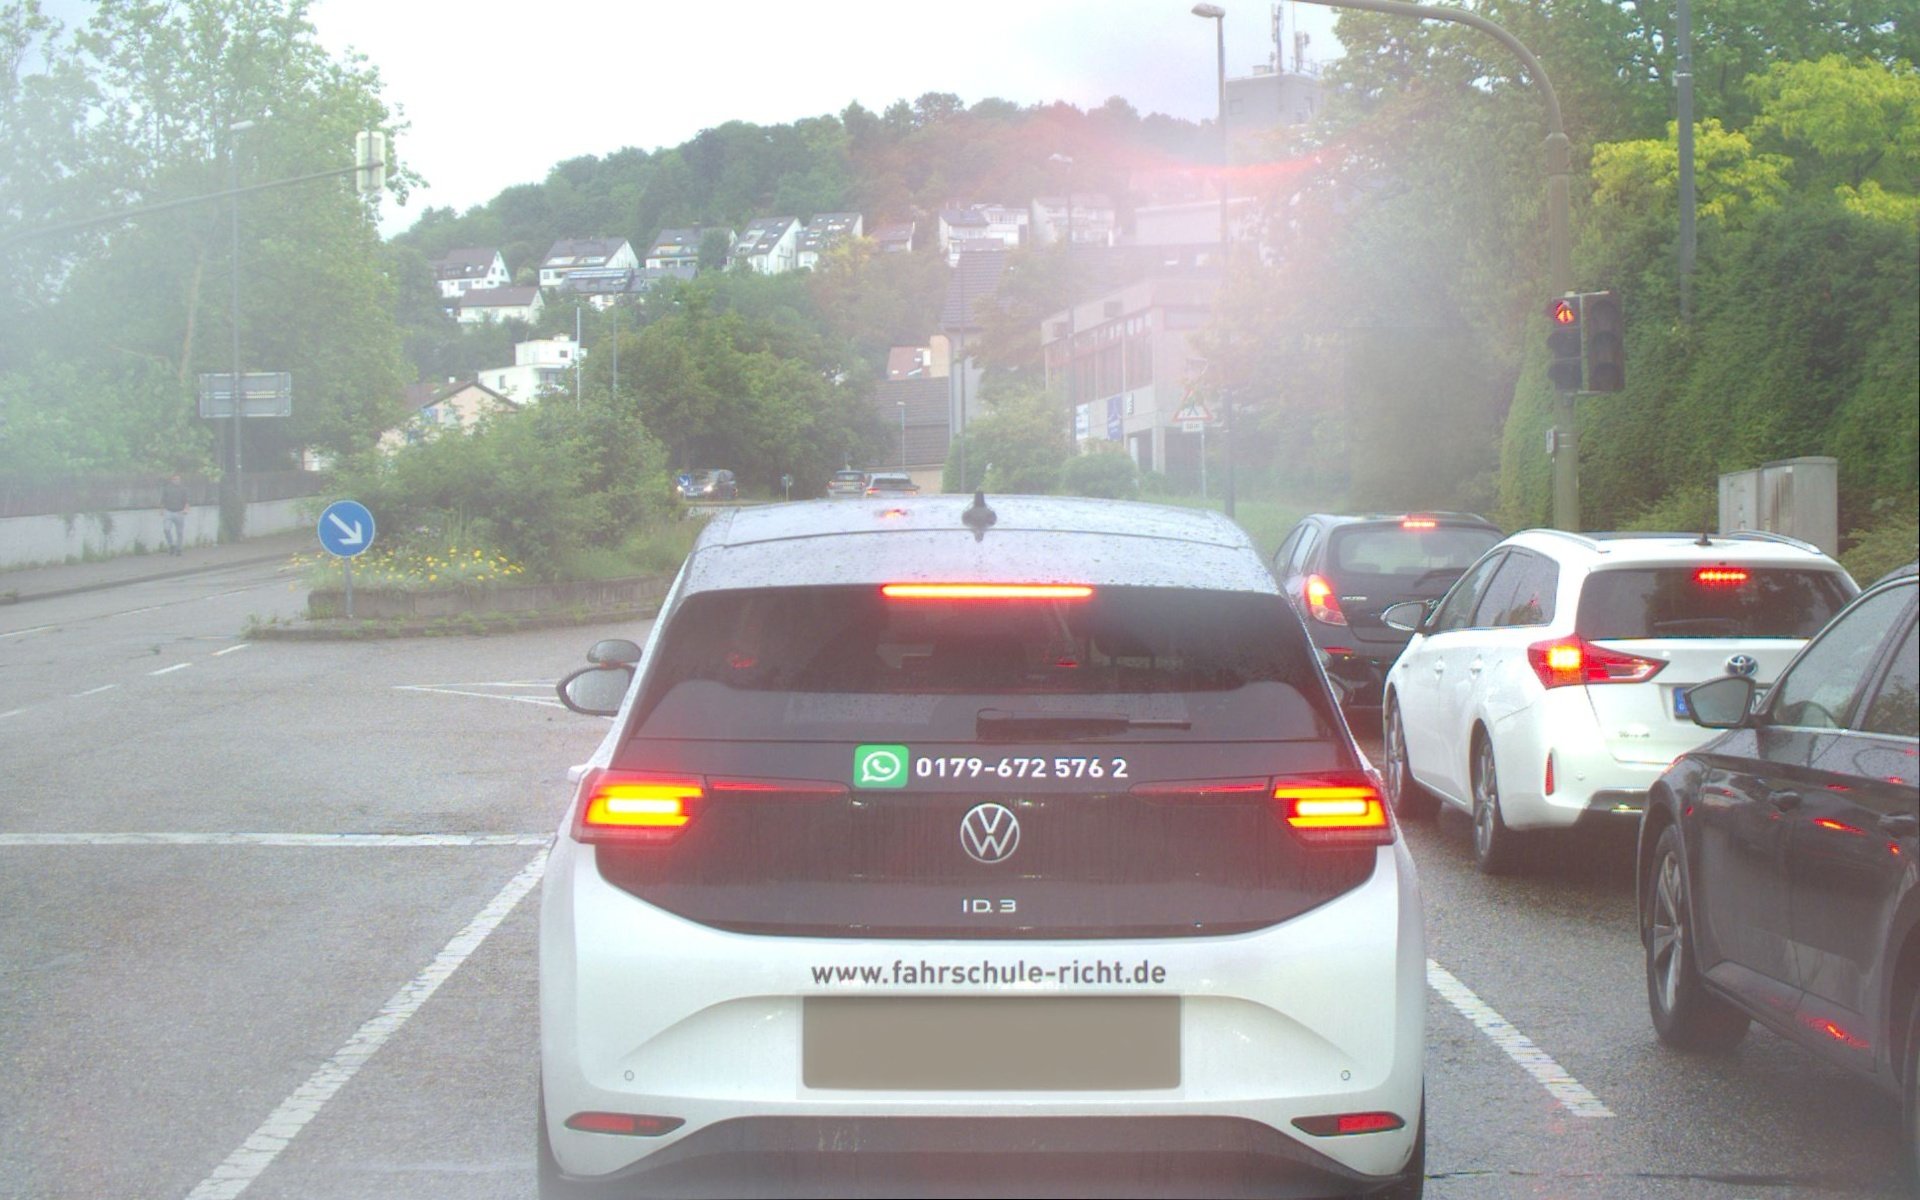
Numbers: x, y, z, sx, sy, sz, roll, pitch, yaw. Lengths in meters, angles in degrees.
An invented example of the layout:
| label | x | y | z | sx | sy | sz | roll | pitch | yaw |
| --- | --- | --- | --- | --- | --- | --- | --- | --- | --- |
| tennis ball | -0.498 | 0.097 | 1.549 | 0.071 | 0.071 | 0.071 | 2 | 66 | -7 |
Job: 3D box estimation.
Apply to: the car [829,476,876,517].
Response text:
| label | x | y | z | sx | sy | sz | roll | pitch | yaw |
| --- | --- | --- | --- | --- | --- | --- | --- | --- | --- |
| car | -4.438 | -4.265 | 142.062 | 1.775 | 1.576 | 4.000 | -2 | 1 | 0 |

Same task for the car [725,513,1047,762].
| label | x | y | z | sx | sy | sz | roll | pitch | yaw |
| --- | --- | --- | --- | --- | --- | --- | --- | --- | --- |
| car | -0.471 | 0.170 | 21.852 | 1.837 | 1.395 | 3.831 | 1 | 2 | -1 |

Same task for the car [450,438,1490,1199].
| label | x | y | z | sx | sy | sz | roll | pitch | yaw |
| --- | --- | --- | --- | --- | --- | --- | --- | --- | --- |
| car | -0.032 | 0.474 | 8.477 | 1.837 | 1.623 | 4.616 | 1 | 2 | -1 |

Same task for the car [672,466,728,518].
| label | x | y | z | sx | sy | sz | roll | pitch | yaw |
| --- | --- | --- | --- | --- | --- | --- | --- | --- | --- |
| car | -10.648 | -4.410 | 140.801 | 1.993 | 2.007 | 4.000 | 1 | 0 | 0 |

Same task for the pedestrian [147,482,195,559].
| label | x | y | z | sx | sy | sz | roll | pitch | yaw |
| --- | --- | --- | --- | --- | --- | --- | --- | --- | --- |
| pedestrian | -16.460 | -1.664 | 71.745 | 0.760 | 1.562 | 0.825 | -3 | 1 | -1 |

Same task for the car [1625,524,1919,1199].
| label | x | y | z | sx | sy | sz | roll | pitch | yaw |
| --- | --- | --- | --- | --- | --- | --- | --- | --- | --- |
| car | 2.879 | 0.589 | 8.020 | 1.838 | 1.461 | 4.350 | 1 | 2 | 1 |

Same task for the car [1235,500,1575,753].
| label | x | y | z | sx | sy | sz | roll | pitch | yaw |
| --- | --- | --- | --- | --- | --- | --- | --- | --- | --- |
| car | 2.984 | 0.132 | 23.815 | 1.775 | 1.576 | 4.000 | 1 | 1 | 0 |

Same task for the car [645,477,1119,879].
| label | x | y | z | sx | sy | sz | roll | pitch | yaw |
| --- | --- | --- | --- | --- | --- | --- | --- | --- | --- |
| car | -0.351 | 0.248 | 15.645 | 1.837 | 1.549 | 4.175 | 1 | 2 | -1 |

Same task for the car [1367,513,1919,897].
| label | x | y | z | sx | sy | sz | roll | pitch | yaw |
| --- | --- | --- | --- | --- | --- | --- | --- | --- | --- |
| car | 3.062 | 0.365 | 15.574 | 1.837 | 1.461 | 4.117 | 1 | 2 | -1 |

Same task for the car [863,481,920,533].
| label | x | y | z | sx | sy | sz | roll | pitch | yaw |
| --- | --- | --- | --- | --- | --- | --- | --- | --- | --- |
| car | -2.216 | -3.019 | 112.247 | 1.775 | 1.576 | 4.000 | -2 | 1 | 0 |
